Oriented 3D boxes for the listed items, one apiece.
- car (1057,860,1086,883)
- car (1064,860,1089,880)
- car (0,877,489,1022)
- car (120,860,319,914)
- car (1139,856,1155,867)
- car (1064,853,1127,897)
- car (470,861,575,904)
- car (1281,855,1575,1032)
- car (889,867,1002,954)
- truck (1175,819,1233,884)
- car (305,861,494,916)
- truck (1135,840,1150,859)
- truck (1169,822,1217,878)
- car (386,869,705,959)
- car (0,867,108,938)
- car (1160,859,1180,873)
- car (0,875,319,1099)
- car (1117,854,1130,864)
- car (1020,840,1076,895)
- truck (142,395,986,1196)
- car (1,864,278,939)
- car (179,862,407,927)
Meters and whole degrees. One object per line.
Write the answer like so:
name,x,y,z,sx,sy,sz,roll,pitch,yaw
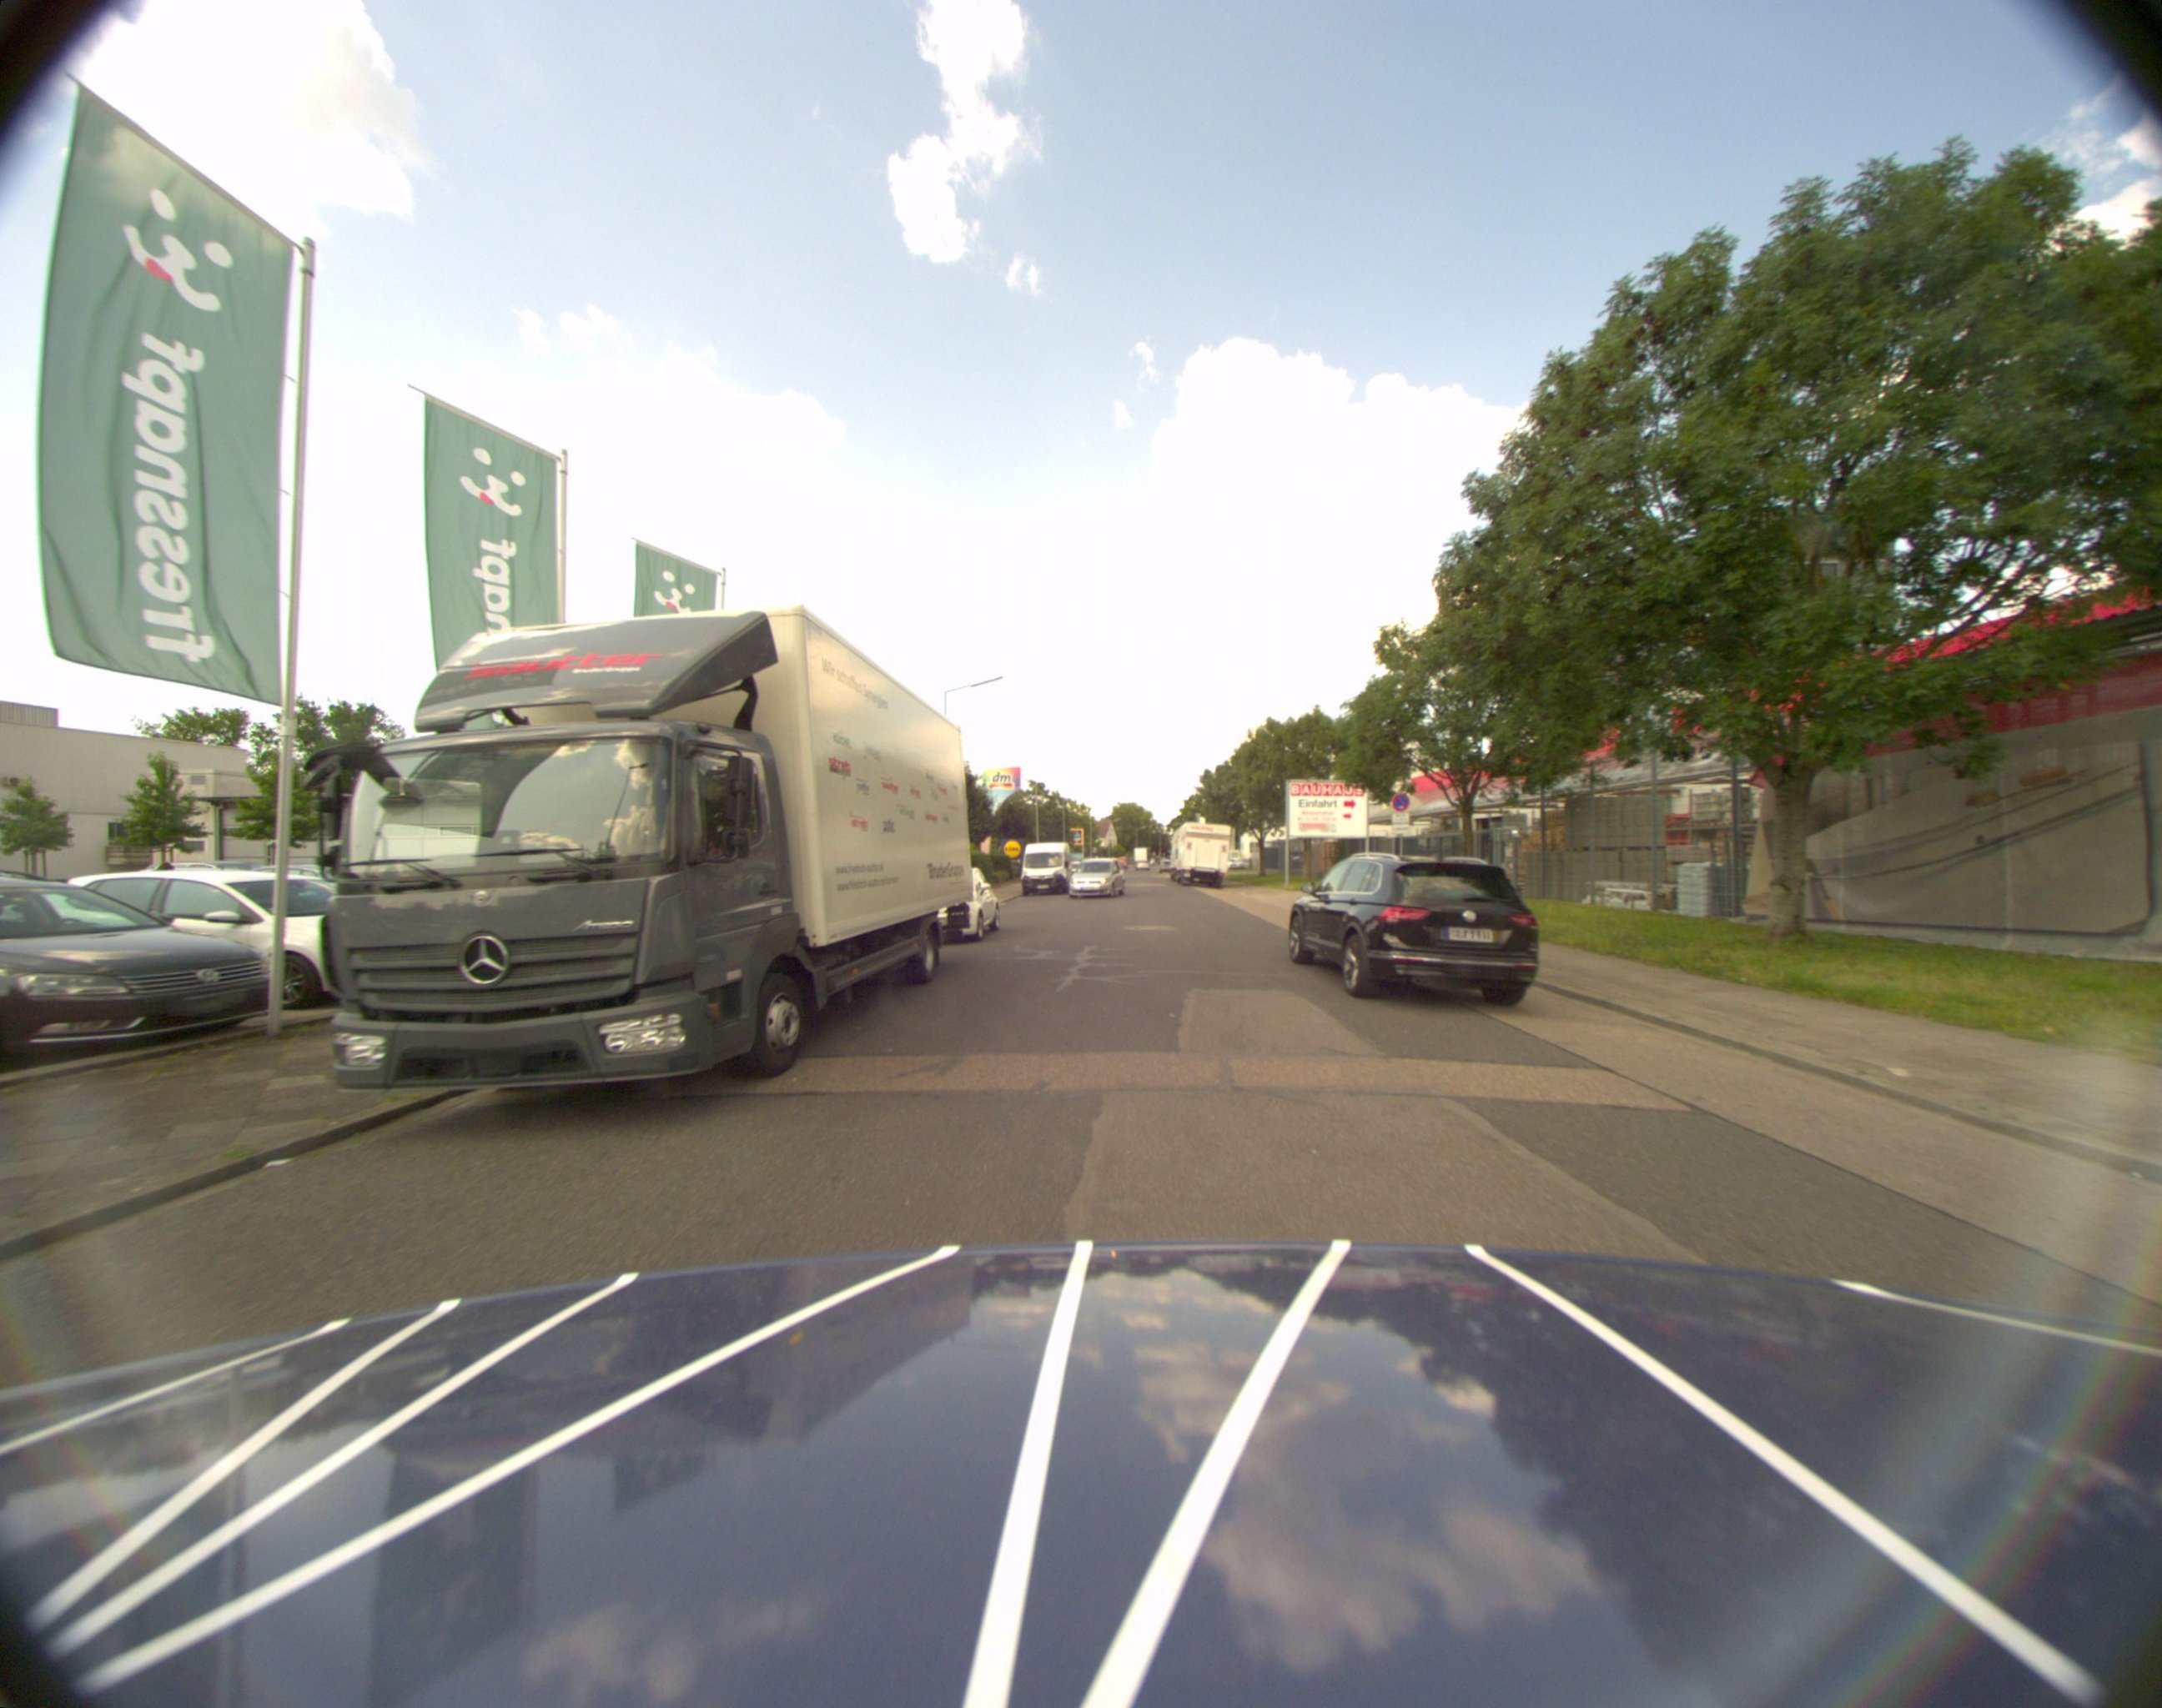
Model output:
car,-0.640,1.227,53.701,1.698,1.447,3.550,-3,0,3
car,-0.319,1.204,58.838,1.698,1.447,3.706,-3,0,3
car,-9.452,1.021,8.728,3.894,1.424,1.749,1,0,-2
car,-25.302,0.953,22.400,3.945,1.475,1.725,1,0,1
car,9.042,0.955,104.394,1.982,1.467,4.001,0,0,3
car,0.705,0.818,32.038,1.743,1.674,4.596,-1,0,12
car,-20.890,1.040,28.483,2.716,1.534,1.647,0,0,2
car,3.956,0.878,9.593,1.878,1.610,4.295,4,0,4
car,-2.716,1.088,15.989,1.549,1.502,3.626,-3,0,2
truck,7.499,-0.170,47.155,2.754,3.701,7.172,1,1,3
car,-19.581,0.957,21.939,3.945,1.475,1.725,1,0,1
truck,13.484,-0.905,166.966,2.978,4.131,9.669,0,0,3
truck,8.097,-0.258,55.528,2.754,3.787,7.173,1,0,3
car,-9.498,1.028,13.715,4.491,1.429,1.859,1,0,3
car,-25.051,1.048,17.175,3.945,1.475,1.725,1,0,1
car,10.077,1.307,86.528,1.982,1.565,4.001,0,0,3
car,-9.325,0.971,6.243,4.297,1.533,1.749,1,0,-2
car,6.173,0.694,110.881,1.856,1.467,4.001,0,0,3
car,-1.513,0.616,36.841,2.056,2.395,5.456,-3,0,3
truck,-3.296,-0.251,8.156,2.784,4.092,8.281,-3,0,4
car,-20.342,0.990,16.541,3.945,1.475,1.725,1,0,1
car,-19.541,0.976,18.964,3.945,1.475,1.725,1,0,1
